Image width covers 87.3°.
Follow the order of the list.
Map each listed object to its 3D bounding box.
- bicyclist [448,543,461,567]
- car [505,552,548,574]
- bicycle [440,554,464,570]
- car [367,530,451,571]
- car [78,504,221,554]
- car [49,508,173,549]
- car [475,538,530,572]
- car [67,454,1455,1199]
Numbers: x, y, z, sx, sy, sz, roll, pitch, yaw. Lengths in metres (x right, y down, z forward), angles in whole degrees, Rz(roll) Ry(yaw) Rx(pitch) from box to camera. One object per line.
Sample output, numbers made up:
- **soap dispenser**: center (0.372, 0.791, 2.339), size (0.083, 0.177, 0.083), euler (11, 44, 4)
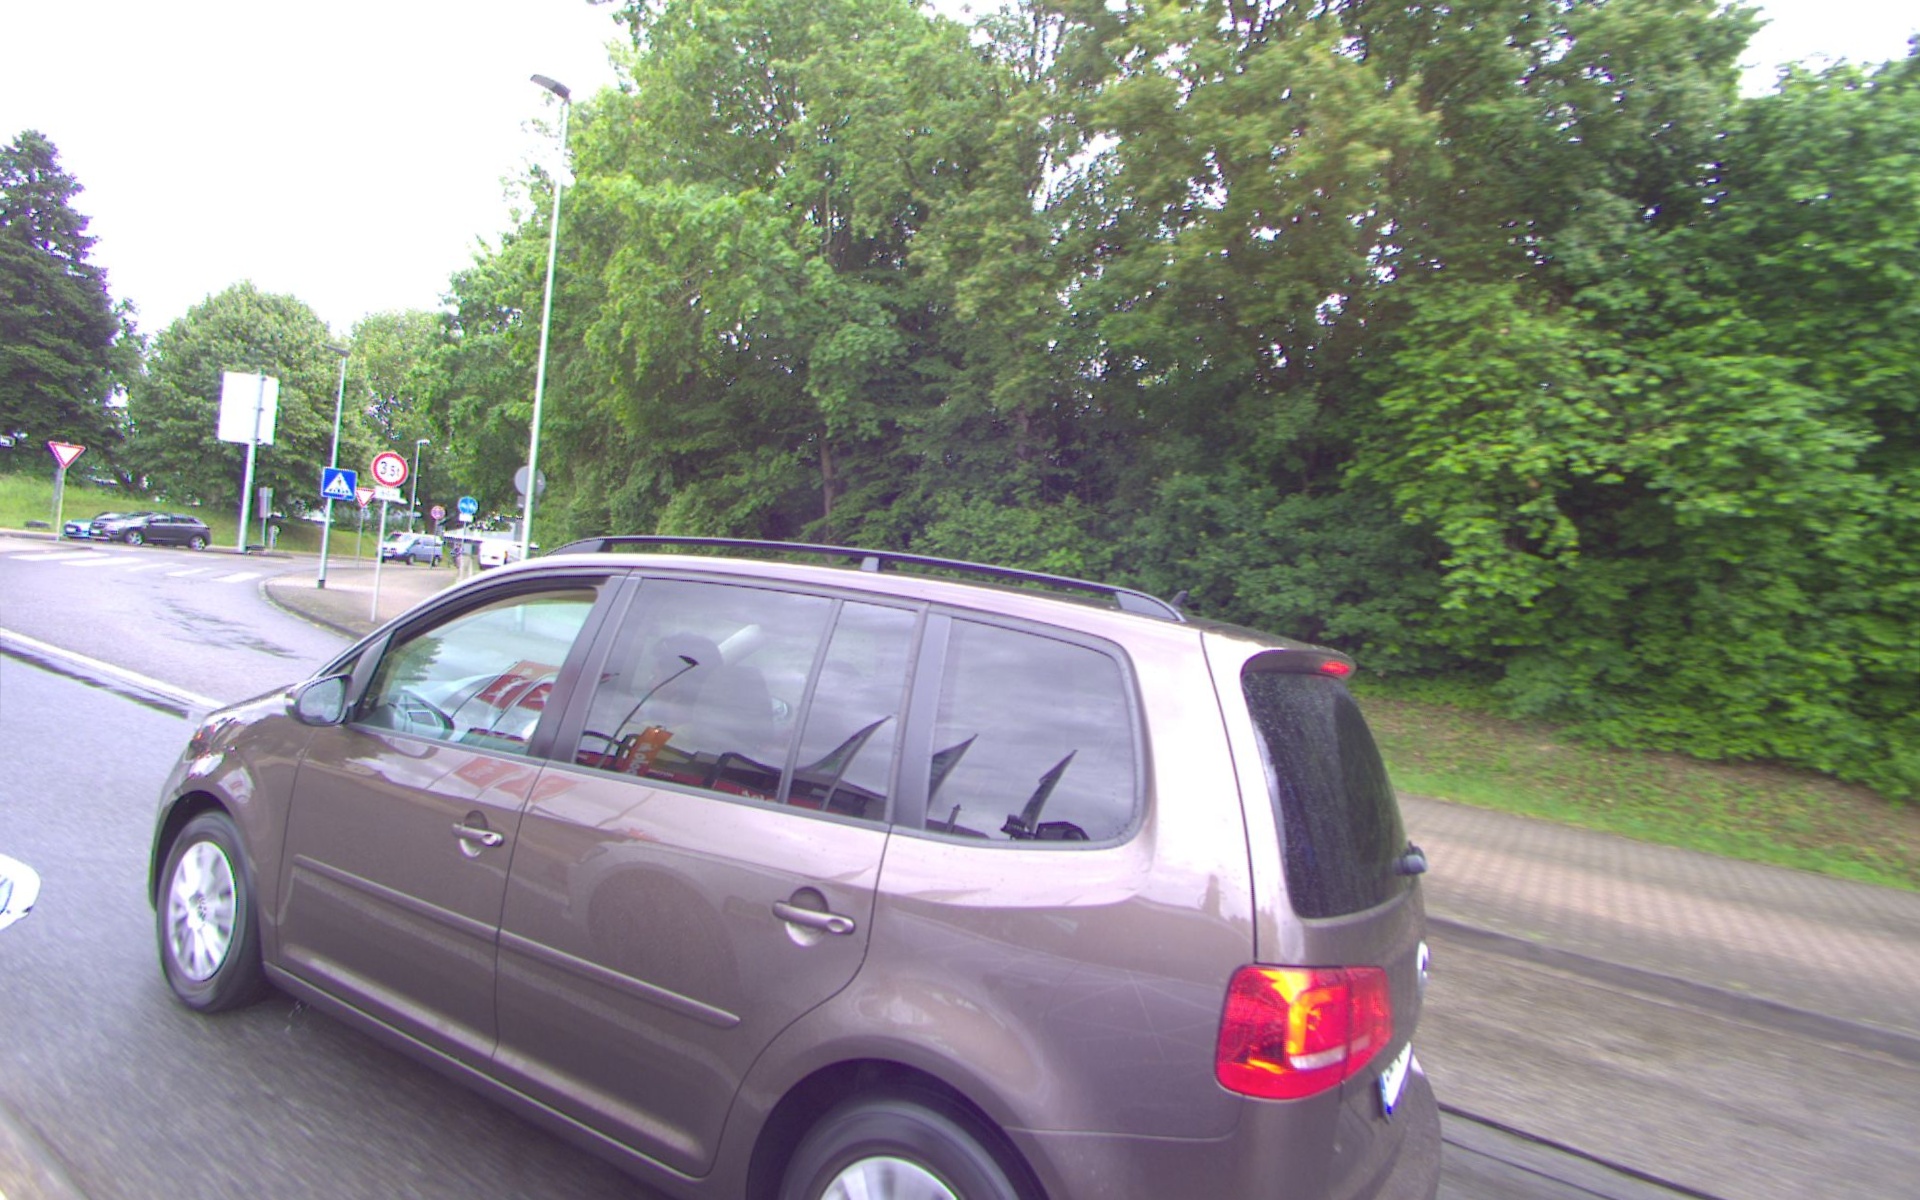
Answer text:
- **bicyclist**: center (-34.382, -3.070, 68.459), size (0.446, 1.507, 0.562), euler (7, 1, 3)
- **car**: center (-35.653, -3.017, 82.827), size (1.805, 1.465, 3.999), euler (6, 0, -2)
- **bicycle**: center (-34.468, -2.571, 68.231), size (0.568, 0.964, 1.750), euler (7, 0, 3)
- **car**: center (-32.544, -2.883, 59.580), size (1.865, 1.873, 4.744), euler (8, 0, 4)
- **car**: center (-34.683, -3.026, 43.185), size (1.866, 1.485, 4.330), euler (7, 0, 21)
- **car**: center (-37.801, -3.137, 44.905), size (1.578, 1.310, 4.000), euler (7, 1, 13)
- **car**: center (-29.181, -2.847, 64.302), size (1.788, 1.729, 3.942), euler (8, 0, -5)
- **car**: center (-0.820, 0.612, 3.208), size (4.060, 1.615, 1.717), euler (8, -1, 30)
